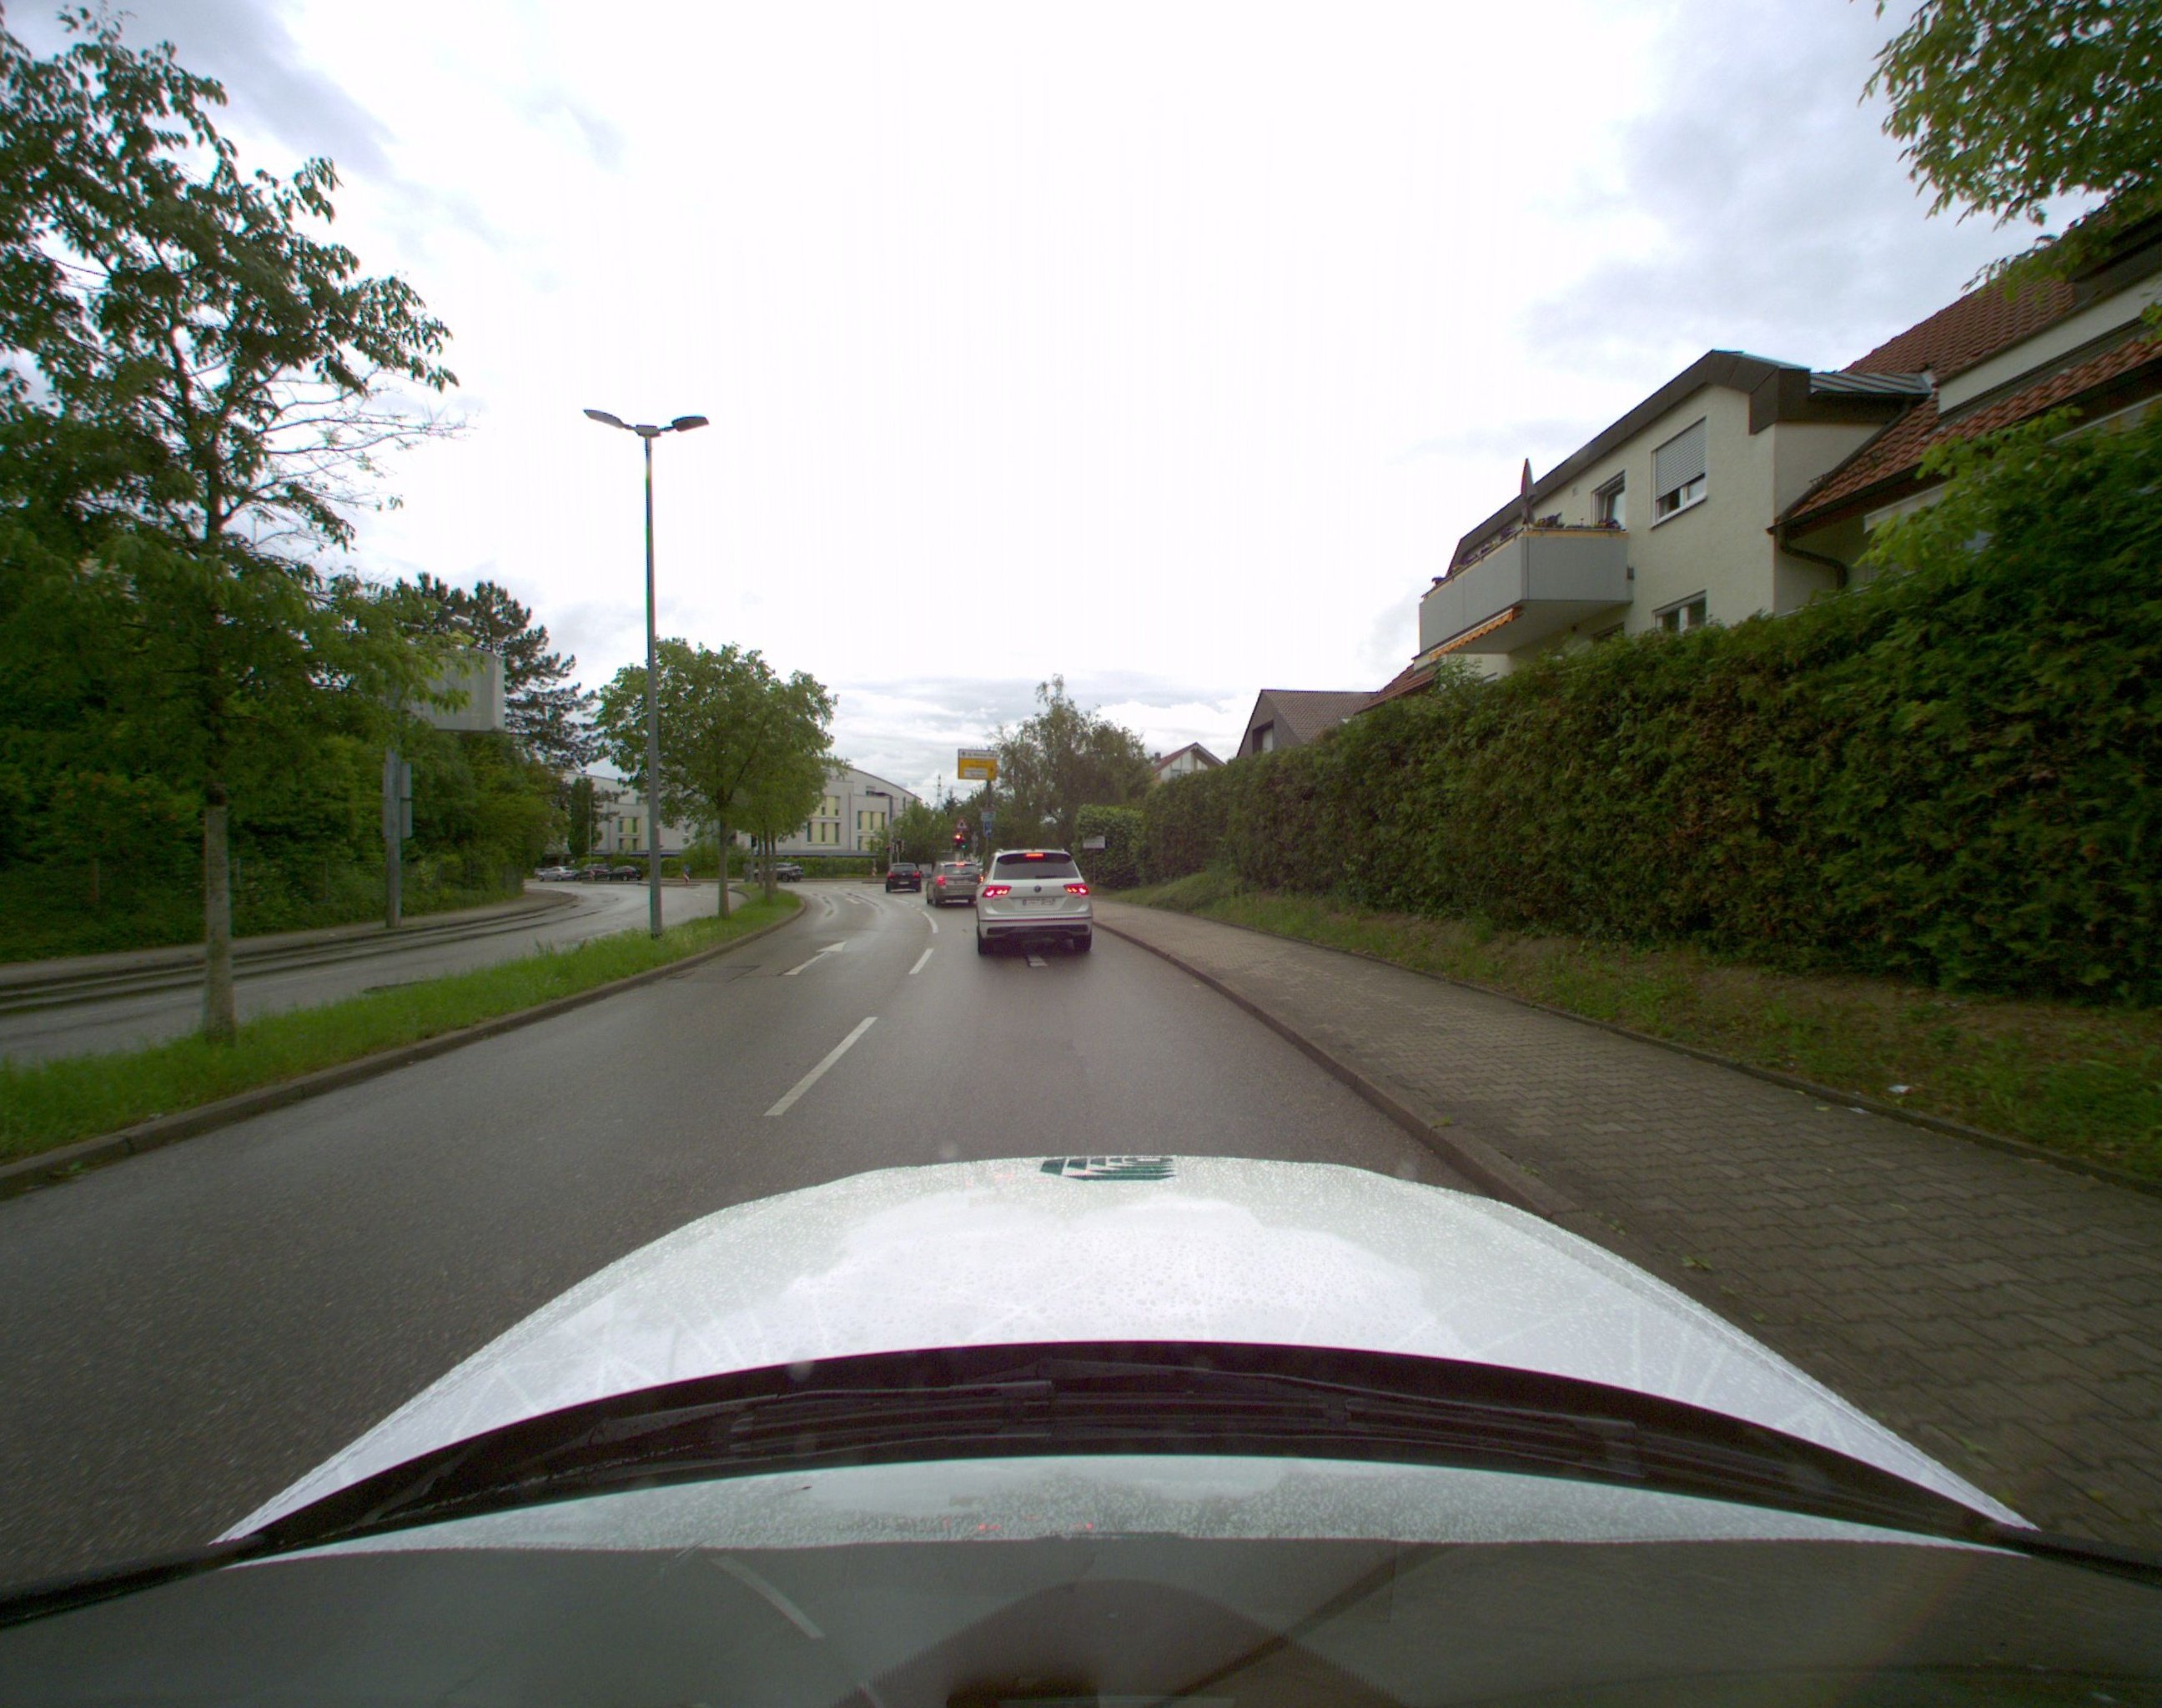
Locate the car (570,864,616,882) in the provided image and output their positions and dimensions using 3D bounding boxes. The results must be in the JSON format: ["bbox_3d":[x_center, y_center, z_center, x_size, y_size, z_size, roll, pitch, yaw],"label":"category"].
[{"bbox_3d":[-48.368,1.867,80.669,3.951,1.555,2.011,2,0,25],"label":"car"}]

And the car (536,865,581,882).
[{"bbox_3d":[-52.800,1.936,82.339,3.951,1.555,2.011,1,0,25],"label":"car"}]

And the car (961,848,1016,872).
[{"bbox_3d":[-7.527,0.501,66.392,4.006,1.758,1.984,2,2,-25],"label":"car"}]

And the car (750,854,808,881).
[{"bbox_3d":[-24.891,1.093,67.261,3.961,2.013,1.987,3,1,11],"label":"car"}]

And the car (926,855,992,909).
[{"bbox_3d":[-4.205,0.878,27.583,1.768,1.509,3.982,2,2,-14],"label":"car"}]

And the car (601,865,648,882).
[{"bbox_3d":[-44.151,1.891,78.759,3.951,1.555,2.012,0,1,25],"label":"car"}]

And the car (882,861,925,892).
[{"bbox_3d":[-9.089,1.110,41.548,1.855,1.429,3.977,-1,0,-17],"label":"car"}]

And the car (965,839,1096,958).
[{"bbox_3d":[-0.891,0.664,14.309,1.917,1.722,4.259,-1,0,-4],"label":"car"}]

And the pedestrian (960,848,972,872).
[{"bbox_3d":[-10.042,0.489,70.989,0.802,2.013,0.843,-2,3,-23],"label":"pedestrian"}]
